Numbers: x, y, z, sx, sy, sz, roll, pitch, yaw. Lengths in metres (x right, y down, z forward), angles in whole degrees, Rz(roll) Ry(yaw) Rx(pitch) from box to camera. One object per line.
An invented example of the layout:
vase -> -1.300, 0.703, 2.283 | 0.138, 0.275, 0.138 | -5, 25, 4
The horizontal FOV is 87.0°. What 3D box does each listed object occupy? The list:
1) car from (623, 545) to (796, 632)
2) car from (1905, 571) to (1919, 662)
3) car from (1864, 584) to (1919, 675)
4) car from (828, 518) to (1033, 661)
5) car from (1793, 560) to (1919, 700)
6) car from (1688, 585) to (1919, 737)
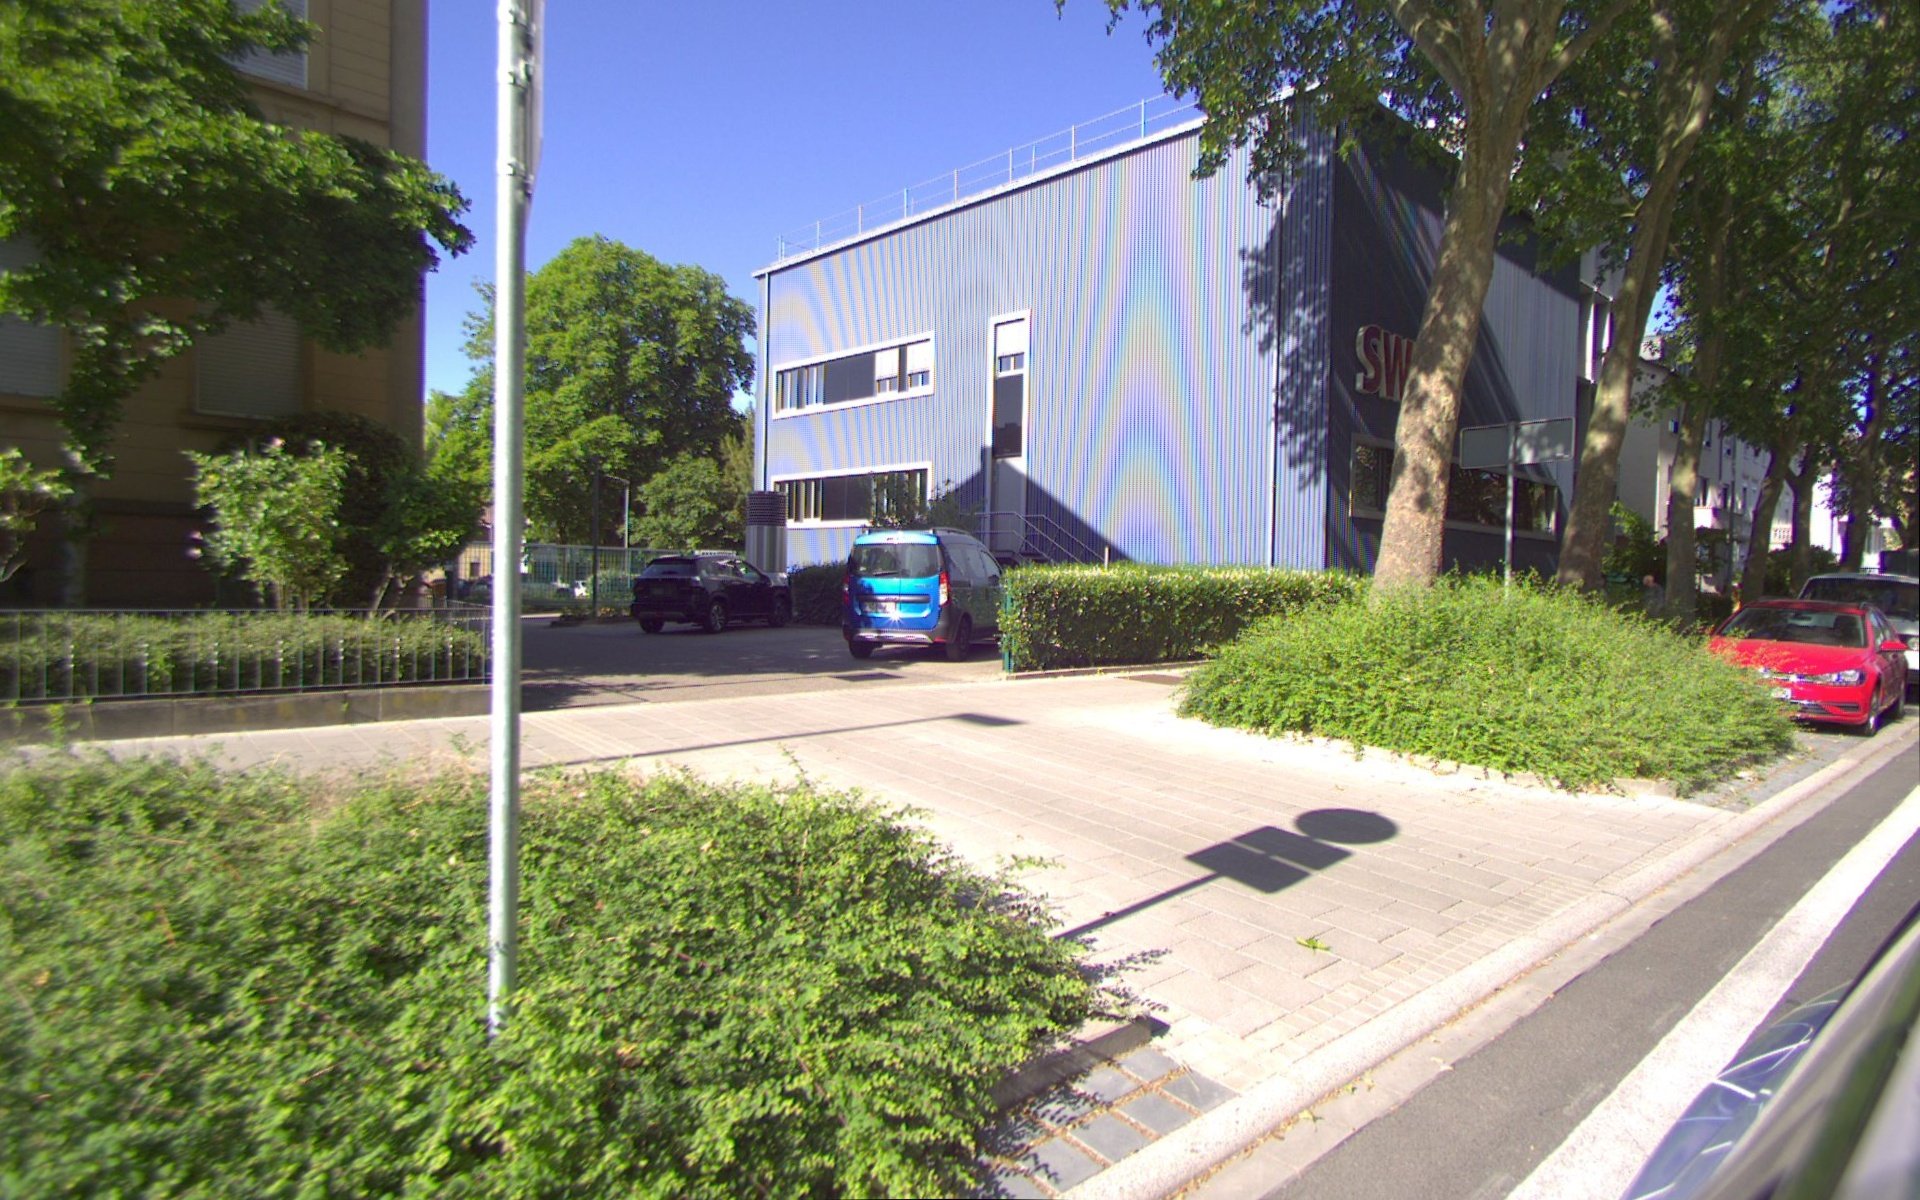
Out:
car -> -5.182, -0.281, 21.506 | 1.776, 1.658, 3.979 | 0, 2, 17
car -> 23.260, 0.382, 23.364 | 4.146, 2.034, 1.630 | 0, 2, -41
car -> 19.201, 0.542, 19.871 | 4.146, 1.655, 1.630 | 0, 2, -41
car -> -0.292, -0.213, 15.349 | 1.777, 1.844, 3.975 | 2, 2, 20
car -> 15.085, 0.409, 16.347 | 4.428, 1.990, 1.752 | 0, 2, -41
car -> 10.563, 0.621, 12.486 | 3.928, 1.536, 1.673 | 0, 2, -41
